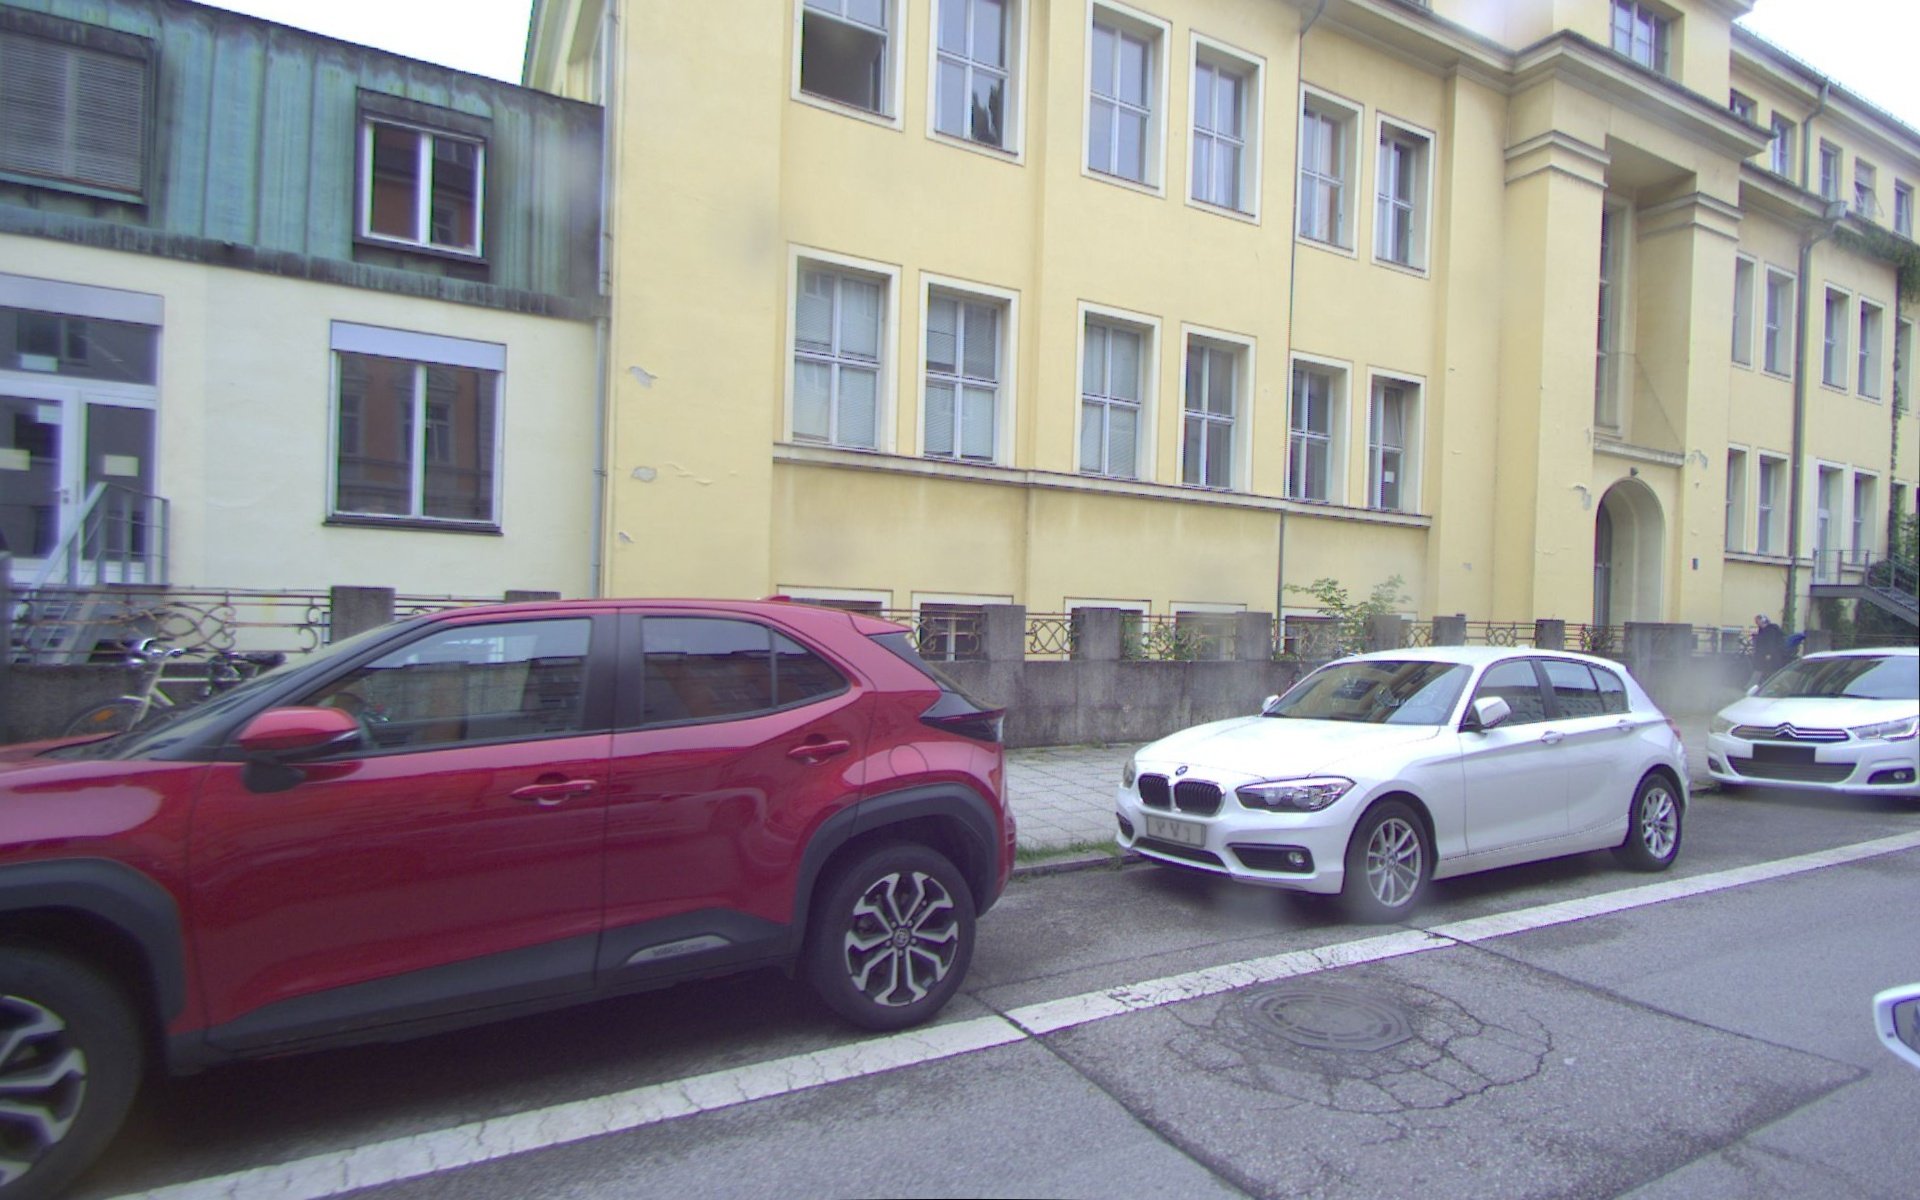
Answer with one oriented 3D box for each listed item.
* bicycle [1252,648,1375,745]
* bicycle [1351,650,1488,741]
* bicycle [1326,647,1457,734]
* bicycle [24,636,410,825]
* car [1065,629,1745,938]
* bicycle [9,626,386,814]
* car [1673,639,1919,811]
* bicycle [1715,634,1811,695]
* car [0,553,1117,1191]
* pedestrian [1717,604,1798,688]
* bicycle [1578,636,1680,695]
[{"bbox_3d":[4.291,1.139,12.141,1.625,1.077,0.570,2,0,-37],"label":"bicycle"},{"bbox_3d":[5.846,1.209,12.779,1.614,1.077,0.537,3,0,-19],"label":"bicycle"},{"bbox_3d":[5.715,1.204,13.311,1.614,1.077,0.537,3,0,-19],"label":"bicycle"},{"bbox_3d":[-5.073,0.866,7.049,2.080,1.163,0.533,2,0,-29],"label":"bicycle"},{"bbox_3d":[3.086,0.990,6.680,4.610,1.448,1.786,3,-4,-30],"label":"car"},{"bbox_3d":[-5.388,0.826,7.282,2.080,1.201,0.533,2,0,-29],"label":"bicycle"},{"bbox_3d":[9.587,1.183,10.396,4.595,1.450,1.778,3,-3,-29],"label":"car"},{"bbox_3d":[18.264,1.447,22.883,0.520,1.285,1.620,2,-1,-26],"label":"bicycle"},{"bbox_3d":[-1.759,0.719,3.832,4.478,1.501,1.948,3,-3,-31],"label":"car"},{"bbox_3d":[17.002,0.980,21.431,1.040,1.742,0.902,1,-1,-13],"label":"pedestrian"},{"bbox_3d":[13.326,1.289,20.053,0.421,1.064,1.646,2,-1,-34],"label":"bicycle"}]
